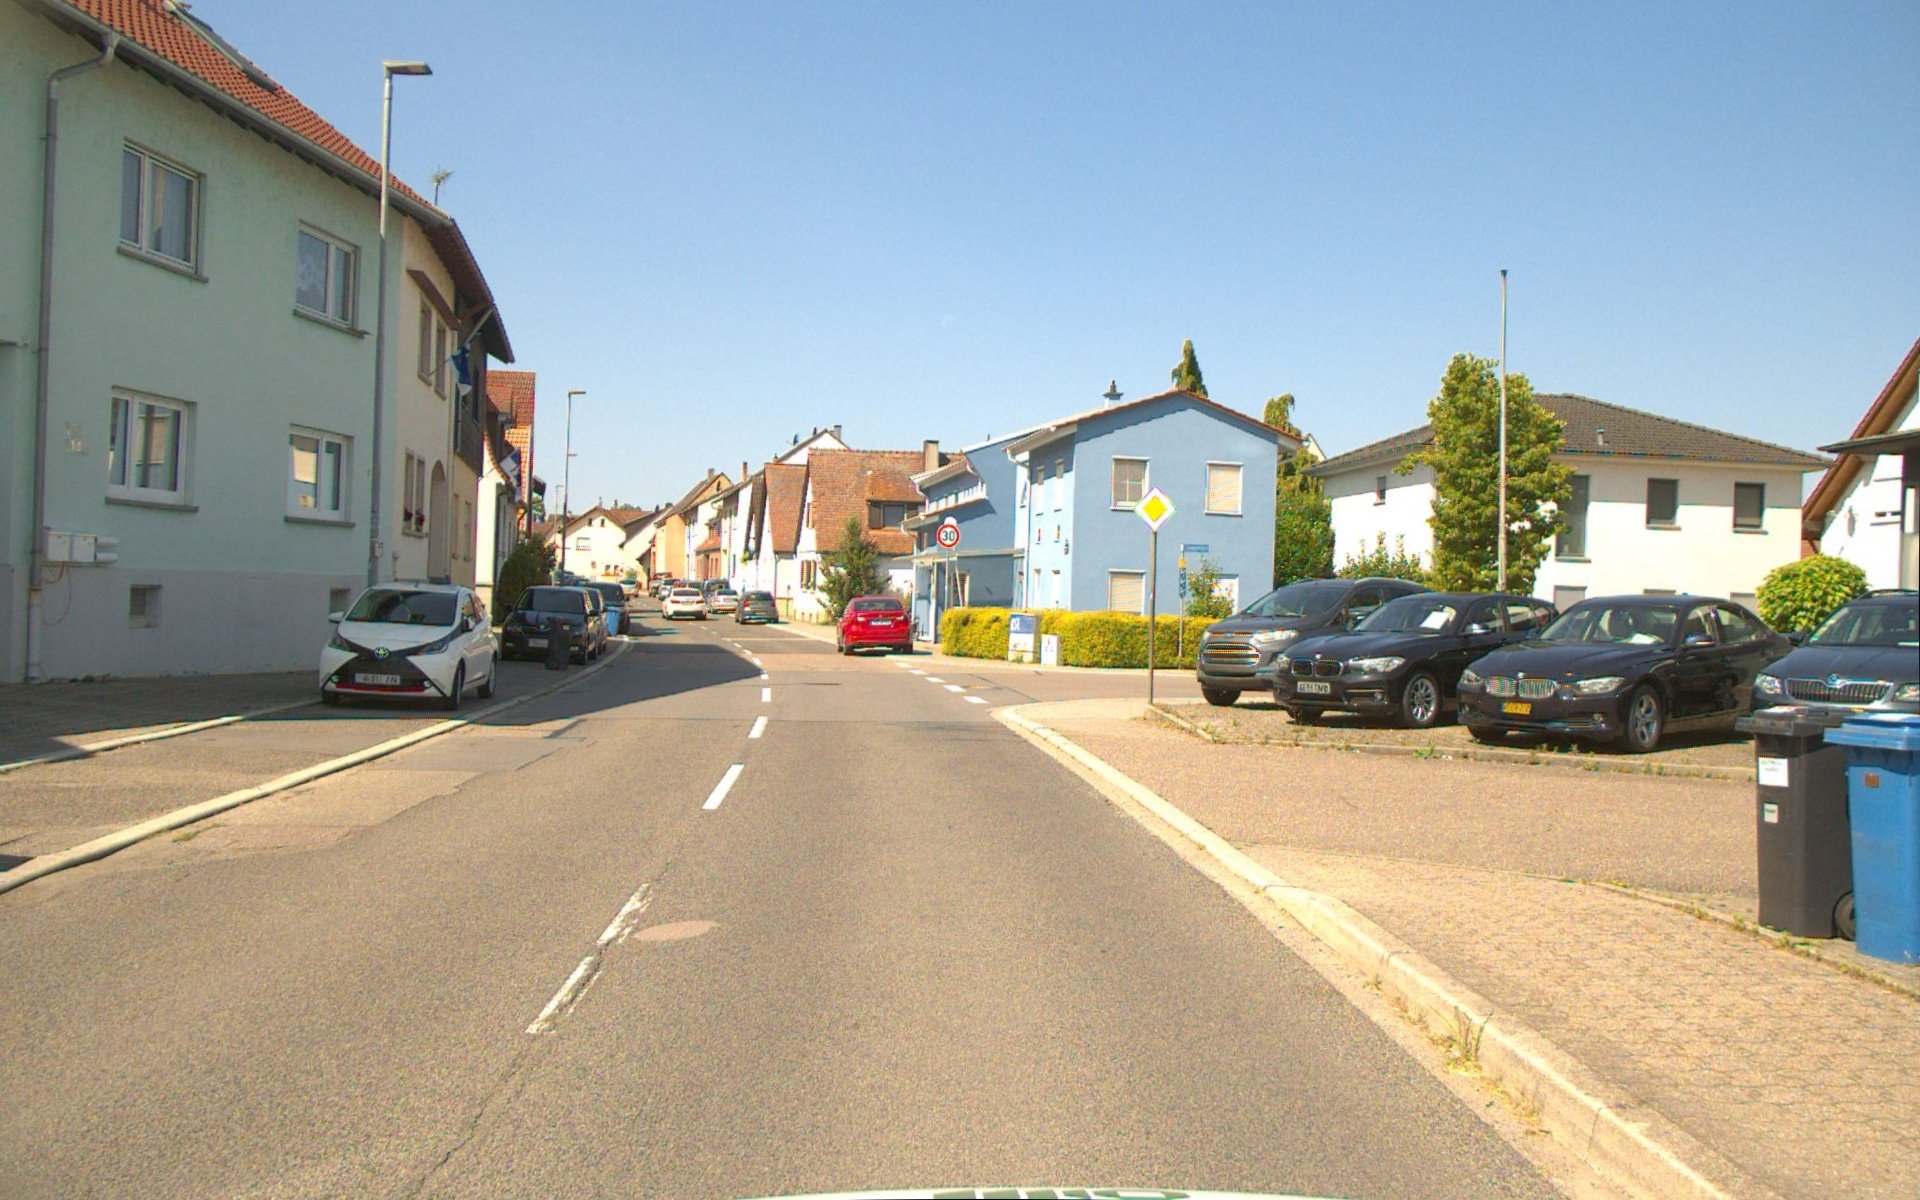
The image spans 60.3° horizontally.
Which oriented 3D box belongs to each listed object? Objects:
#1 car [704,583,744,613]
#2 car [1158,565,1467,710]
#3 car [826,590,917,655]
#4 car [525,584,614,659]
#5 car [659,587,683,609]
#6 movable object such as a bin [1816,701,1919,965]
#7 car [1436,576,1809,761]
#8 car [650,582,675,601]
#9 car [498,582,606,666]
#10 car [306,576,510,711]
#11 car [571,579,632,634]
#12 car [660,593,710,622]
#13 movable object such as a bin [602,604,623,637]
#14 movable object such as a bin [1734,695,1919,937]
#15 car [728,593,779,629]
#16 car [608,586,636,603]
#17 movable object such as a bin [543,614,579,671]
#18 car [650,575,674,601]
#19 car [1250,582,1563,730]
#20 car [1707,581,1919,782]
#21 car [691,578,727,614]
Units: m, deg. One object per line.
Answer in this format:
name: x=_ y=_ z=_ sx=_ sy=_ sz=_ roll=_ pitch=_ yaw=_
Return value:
car: x=-12.806 y=-0.130 z=89.650 sx=1.676 sy=1.523 sz=3.439 roll=3 pitch=0 yaw=-15
car: x=4.596 y=0.447 z=21.302 sx=4.076 sy=1.682 sz=1.804 roll=1 pitch=0 yaw=-41
car: x=-2.327 y=0.541 z=42.351 sx=1.702 sy=1.520 sz=4.342 roll=0 pitch=1 yaw=-12
car: x=-9.112 y=0.482 z=38.817 sx=1.610 sy=1.527 sz=3.774 roll=5 pitch=-1 yaw=-9
car: x=-21.362 y=-0.137 z=122.274 sx=1.397 sy=1.541 sz=3.291 roll=3 pitch=0 yaw=-15
movable object such as a bin: x=3.793 y=0.895 z=6.511 sx=0.547 sy=0.955 sz=0.513 roll=1 pitch=0 yaw=-11
car: x=6.703 y=0.607 z=16.524 sx=4.207 sy=1.593 sz=1.952 roll=1 pitch=0 yaw=-45
car: x=-23.454 y=-0.658 z=130.361 sx=1.737 sy=1.458 sz=3.438 roll=1 pitch=0 yaw=-14
car: x=-8.165 y=0.466 z=33.384 sx=1.647 sy=1.462 sz=3.988 roll=5 pitch=-1 yaw=-9
car: x=-6.832 y=0.504 z=20.810 sx=1.652 sy=1.487 sz=3.644 roll=2 pitch=0 yaw=-7
car: x=-12.373 y=0.208 z=57.299 sx=1.886 sy=1.697 sz=4.652 roll=4 pitch=-1 yaw=-12
car: x=-12.944 y=0.343 z=77.804 sx=1.960 sy=1.311 sz=3.985 roll=1 pitch=0 yaw=-14
movable object such as a bin: x=-11.045 y=0.649 z=52.578 sx=0.586 sy=0.999 sz=0.529 roll=3 pitch=-1 yaw=-13
movable object such as a bin: x=3.697 y=0.896 z=7.018 sx=0.547 sy=0.953 sz=0.513 roll=1 pitch=0 yaw=-11
car: x=-9.159 y=0.463 z=73.041 sx=1.676 sy=1.458 sz=3.874 roll=3 pitch=0 yaw=-15
car: x=-26.771 y=-0.412 z=131.064 sx=1.960 sy=1.311 sz=3.789 roll=1 pitch=0 yaw=-15
movable object such as a bin: x=-7.179 y=0.763 z=29.756 sx=0.542 sy=0.944 sz=0.822 roll=6 pitch=-1 yaw=-14
car: x=-24.325 y=-0.946 z=134.972 sx=1.737 sy=2.039 sz=3.438 roll=1 pitch=0 yaw=-14
car: x=5.111 y=0.578 z=18.668 sx=3.844 sy=1.472 sz=1.723 roll=1 pitch=0 yaw=-45
car: x=8.696 y=0.662 z=15.044 sx=4.281 sy=1.578 sz=1.954 roll=1 pitch=0 yaw=-43
car: x=-14.376 y=-0.265 z=94.627 sx=1.622 sy=1.943 sz=3.611 roll=3 pitch=0 yaw=-15
